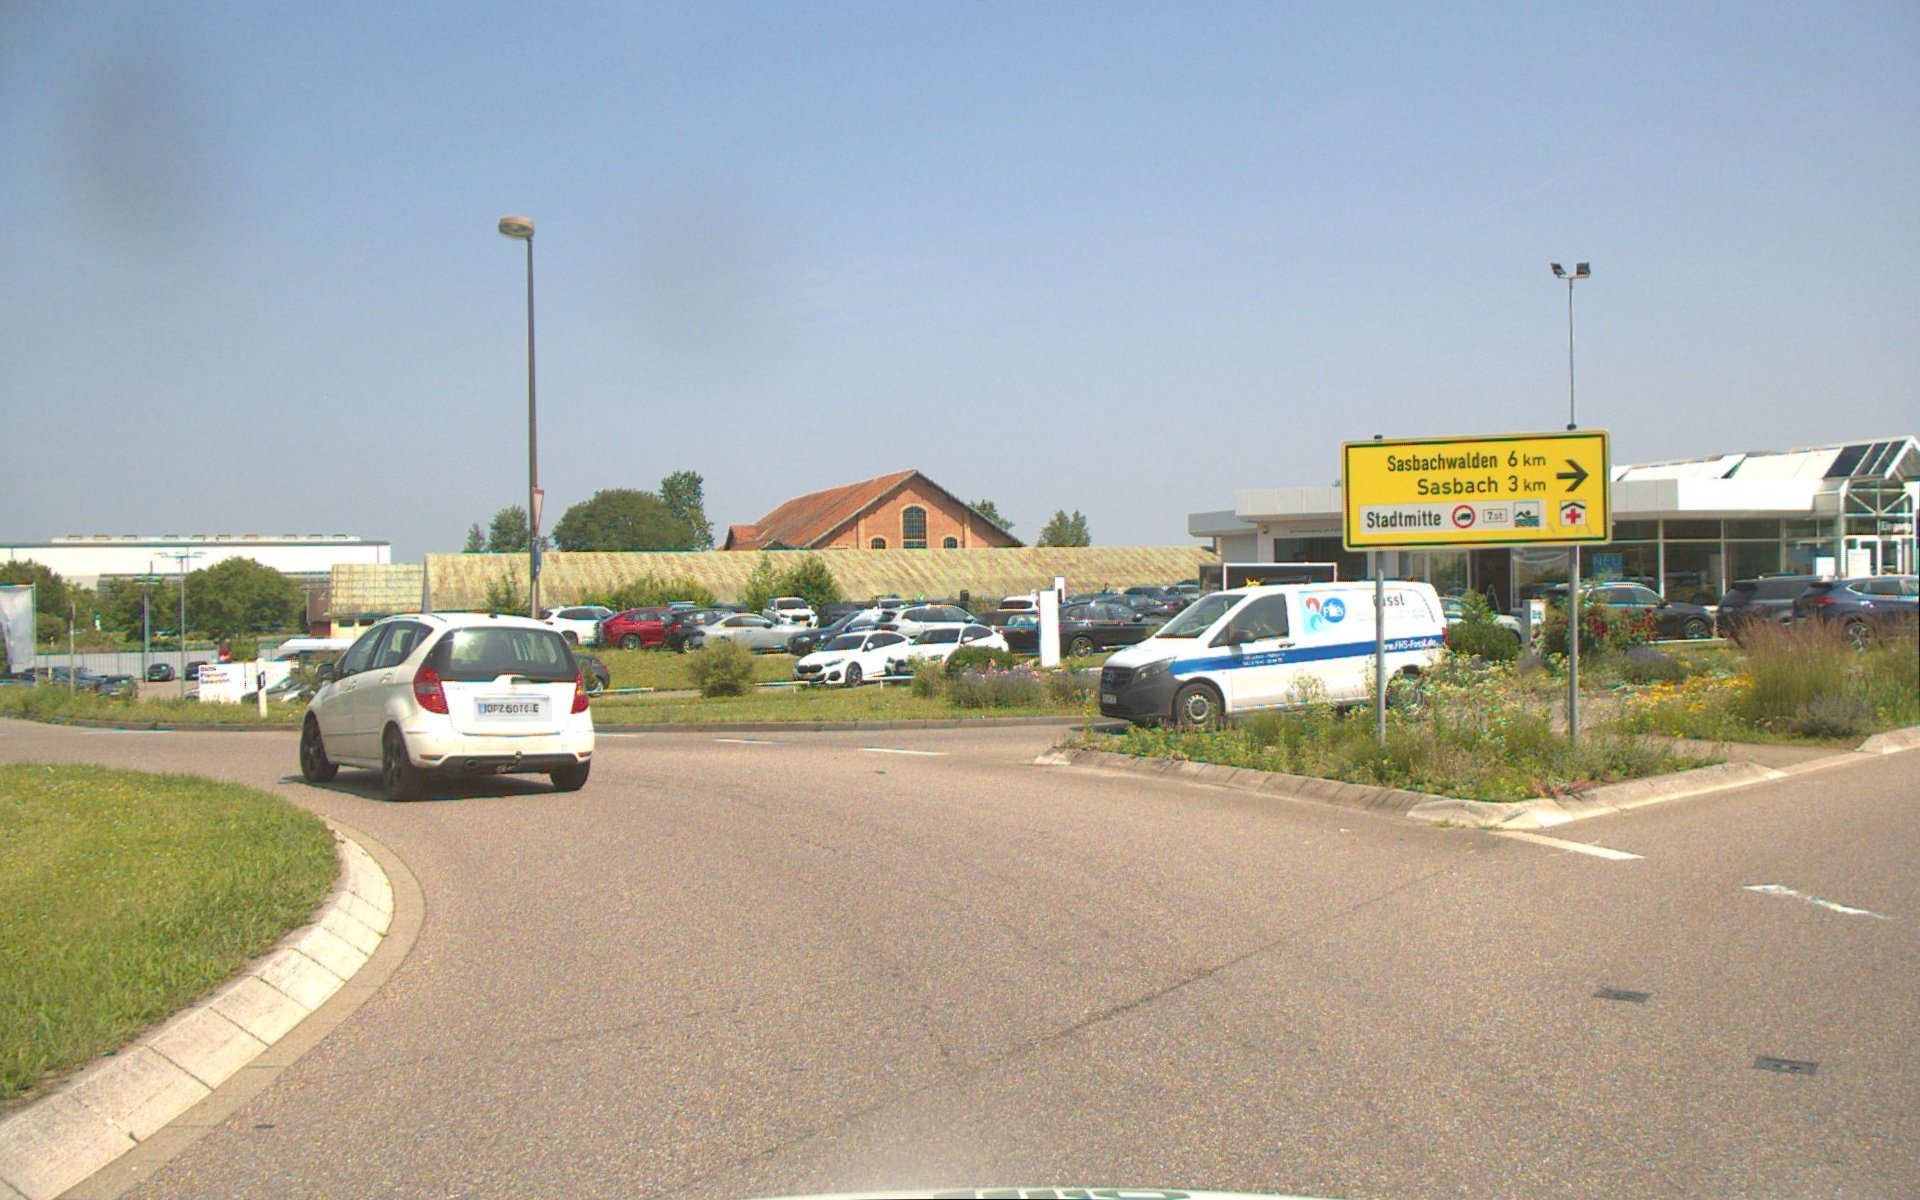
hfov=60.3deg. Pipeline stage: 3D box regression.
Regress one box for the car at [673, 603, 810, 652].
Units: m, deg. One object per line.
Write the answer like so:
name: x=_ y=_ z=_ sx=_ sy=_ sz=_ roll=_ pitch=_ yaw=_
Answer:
car: x=-7.653 y=0.934 z=57.929 sx=4.393 sy=1.526 sz=1.936 roll=-2 pitch=0 yaw=-23

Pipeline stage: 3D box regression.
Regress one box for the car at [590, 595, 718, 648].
car: x=-11.458 y=0.795 z=61.951 sx=4.393 sy=1.777 sz=1.936 roll=-2 pitch=0 yaw=-23

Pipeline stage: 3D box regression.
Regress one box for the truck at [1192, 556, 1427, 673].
truck: x=8.804 y=0.334 z=41.667 sx=5.520 sy=2.711 sz=1.940 roll=-2 pitch=0 yaw=-17

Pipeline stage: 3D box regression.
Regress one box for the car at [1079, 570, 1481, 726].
car: x=4.352 y=0.622 z=22.584 sx=5.130 sy=1.972 sz=1.852 roll=0 pitch=-2 yaw=-17

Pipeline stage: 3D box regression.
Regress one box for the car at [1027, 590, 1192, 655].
car: x=4.363 y=0.659 z=48.321 sx=4.353 sy=1.526 sz=1.936 roll=-4 pitch=0 yaw=-23

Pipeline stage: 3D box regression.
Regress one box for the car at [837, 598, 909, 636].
car: x=-4.044 y=0.798 z=76.344 sx=2.156 sy=1.624 sz=4.278 roll=-2 pitch=0 yaw=-20

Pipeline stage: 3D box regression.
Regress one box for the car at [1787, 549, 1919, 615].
car: x=23.419 y=-0.479 z=41.634 sx=4.268 sy=1.539 sz=1.911 roll=-2 pitch=0 yaw=10

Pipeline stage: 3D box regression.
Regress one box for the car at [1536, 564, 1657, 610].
car: x=24.121 y=-0.485 z=62.699 sx=3.964 sy=1.614 sz=1.900 roll=-2 pitch=0 yaw=-17

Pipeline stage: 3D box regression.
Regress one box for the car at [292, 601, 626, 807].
car: x=-4.833 y=0.854 z=15.628 sx=1.769 sy=1.631 sz=3.840 roll=0 pitch=1 yaw=-38

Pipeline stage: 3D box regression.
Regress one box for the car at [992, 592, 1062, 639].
car: x=2.532 y=0.550 z=61.543 sx=1.617 sy=1.613 sz=4.271 roll=-2 pitch=0 yaw=16

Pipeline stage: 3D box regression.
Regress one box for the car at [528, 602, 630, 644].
car: x=-15.705 y=0.941 z=68.187 sx=3.822 sy=1.559 sz=1.756 roll=-2 pitch=0 yaw=-23

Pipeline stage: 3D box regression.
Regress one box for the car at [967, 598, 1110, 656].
car: x=2.417 y=0.802 z=51.086 sx=3.942 sy=1.526 sz=1.936 roll=-3 pitch=2 yaw=-23

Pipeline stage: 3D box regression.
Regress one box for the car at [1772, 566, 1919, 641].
car: x=20.288 y=0.047 z=36.043 sx=4.268 sy=1.539 sz=1.911 roll=-2 pitch=0 yaw=10

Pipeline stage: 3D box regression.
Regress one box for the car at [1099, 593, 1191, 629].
car: x=7.303 y=0.439 z=65.370 sx=3.283 sy=1.297 sz=1.648 roll=-2 pitch=0 yaw=42

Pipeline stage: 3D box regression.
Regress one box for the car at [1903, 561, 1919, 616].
car: x=31.693 y=-0.374 z=51.989 sx=3.631 sy=1.683 sz=1.572 roll=0 pitch=-2 yaw=-20

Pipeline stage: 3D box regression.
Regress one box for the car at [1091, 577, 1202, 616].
car: x=8.099 y=-0.139 z=71.903 sx=4.385 sy=1.549 sz=1.940 roll=-2 pitch=0 yaw=-18

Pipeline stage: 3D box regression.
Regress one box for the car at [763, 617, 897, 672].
car: x=-4.183 y=1.407 z=53.041 sx=3.932 sy=1.553 sz=1.941 roll=-2 pitch=0 yaw=-17

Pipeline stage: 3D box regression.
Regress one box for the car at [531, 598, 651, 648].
car: x=-14.721 y=0.907 z=65.953 sx=4.393 sy=1.777 sz=1.826 roll=-2 pitch=0 yaw=-23

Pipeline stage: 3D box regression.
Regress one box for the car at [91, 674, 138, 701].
car: x=-50.246 y=5.194 z=98.354 sx=2.106 sy=1.483 sz=4.501 roll=0 pitch=-2 yaw=-22

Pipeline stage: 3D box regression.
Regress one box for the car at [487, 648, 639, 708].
car: x=-12.333 y=2.416 z=51.666 sx=1.747 sy=1.446 sz=4.559 roll=-6 pitch=-1 yaw=34

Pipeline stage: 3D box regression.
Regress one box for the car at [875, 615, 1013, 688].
car: x=-0.363 y=1.368 z=45.260 sx=1.728 sy=1.597 sz=4.661 roll=-2 pitch=2 yaw=28

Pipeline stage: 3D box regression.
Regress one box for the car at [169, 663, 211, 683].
car: x=-58.817 y=5.560 z=126.400 sx=1.957 sy=1.423 sz=3.989 roll=0 pitch=-2 yaw=-10

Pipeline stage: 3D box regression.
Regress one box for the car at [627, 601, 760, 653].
car: x=-9.583 y=0.956 z=59.443 sx=4.393 sy=1.663 sz=1.936 roll=-2 pitch=0 yaw=-23

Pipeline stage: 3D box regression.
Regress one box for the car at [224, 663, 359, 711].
car: x=-26.199 y=3.401 z=64.881 sx=2.111 sy=1.669 sz=4.464 roll=-5 pitch=-3 yaw=44

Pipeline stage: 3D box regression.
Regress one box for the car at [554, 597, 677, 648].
car: x=-13.313 y=0.863 z=63.915 sx=4.393 sy=1.777 sz=1.826 roll=-2 pitch=0 yaw=-23

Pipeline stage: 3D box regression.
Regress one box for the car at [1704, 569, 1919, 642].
car: x=19.822 y=0.124 z=38.418 sx=4.268 sy=1.539 sz=1.911 roll=-2 pitch=0 yaw=10

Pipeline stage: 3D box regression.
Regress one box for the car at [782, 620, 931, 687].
car: x=-2.839 y=1.476 z=46.370 sx=1.731 sy=1.598 sz=4.564 roll=-3 pitch=0 yaw=33

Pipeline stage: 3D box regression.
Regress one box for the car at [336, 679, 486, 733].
car: x=-19.878 y=3.818 z=60.009 sx=4.742 sy=1.534 sz=1.970 roll=-3 pitch=-2 yaw=-42

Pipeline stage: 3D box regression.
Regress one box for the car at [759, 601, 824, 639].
car: x=-7.624 y=0.895 z=74.468 sx=1.889 sy=1.624 sz=4.278 roll=-2 pitch=0 yaw=-20

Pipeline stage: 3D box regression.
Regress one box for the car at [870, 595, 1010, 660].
car: x=-0.636 y=0.851 z=51.986 sx=3.942 sy=1.780 sz=1.936 roll=-3 pitch=1 yaw=-23
